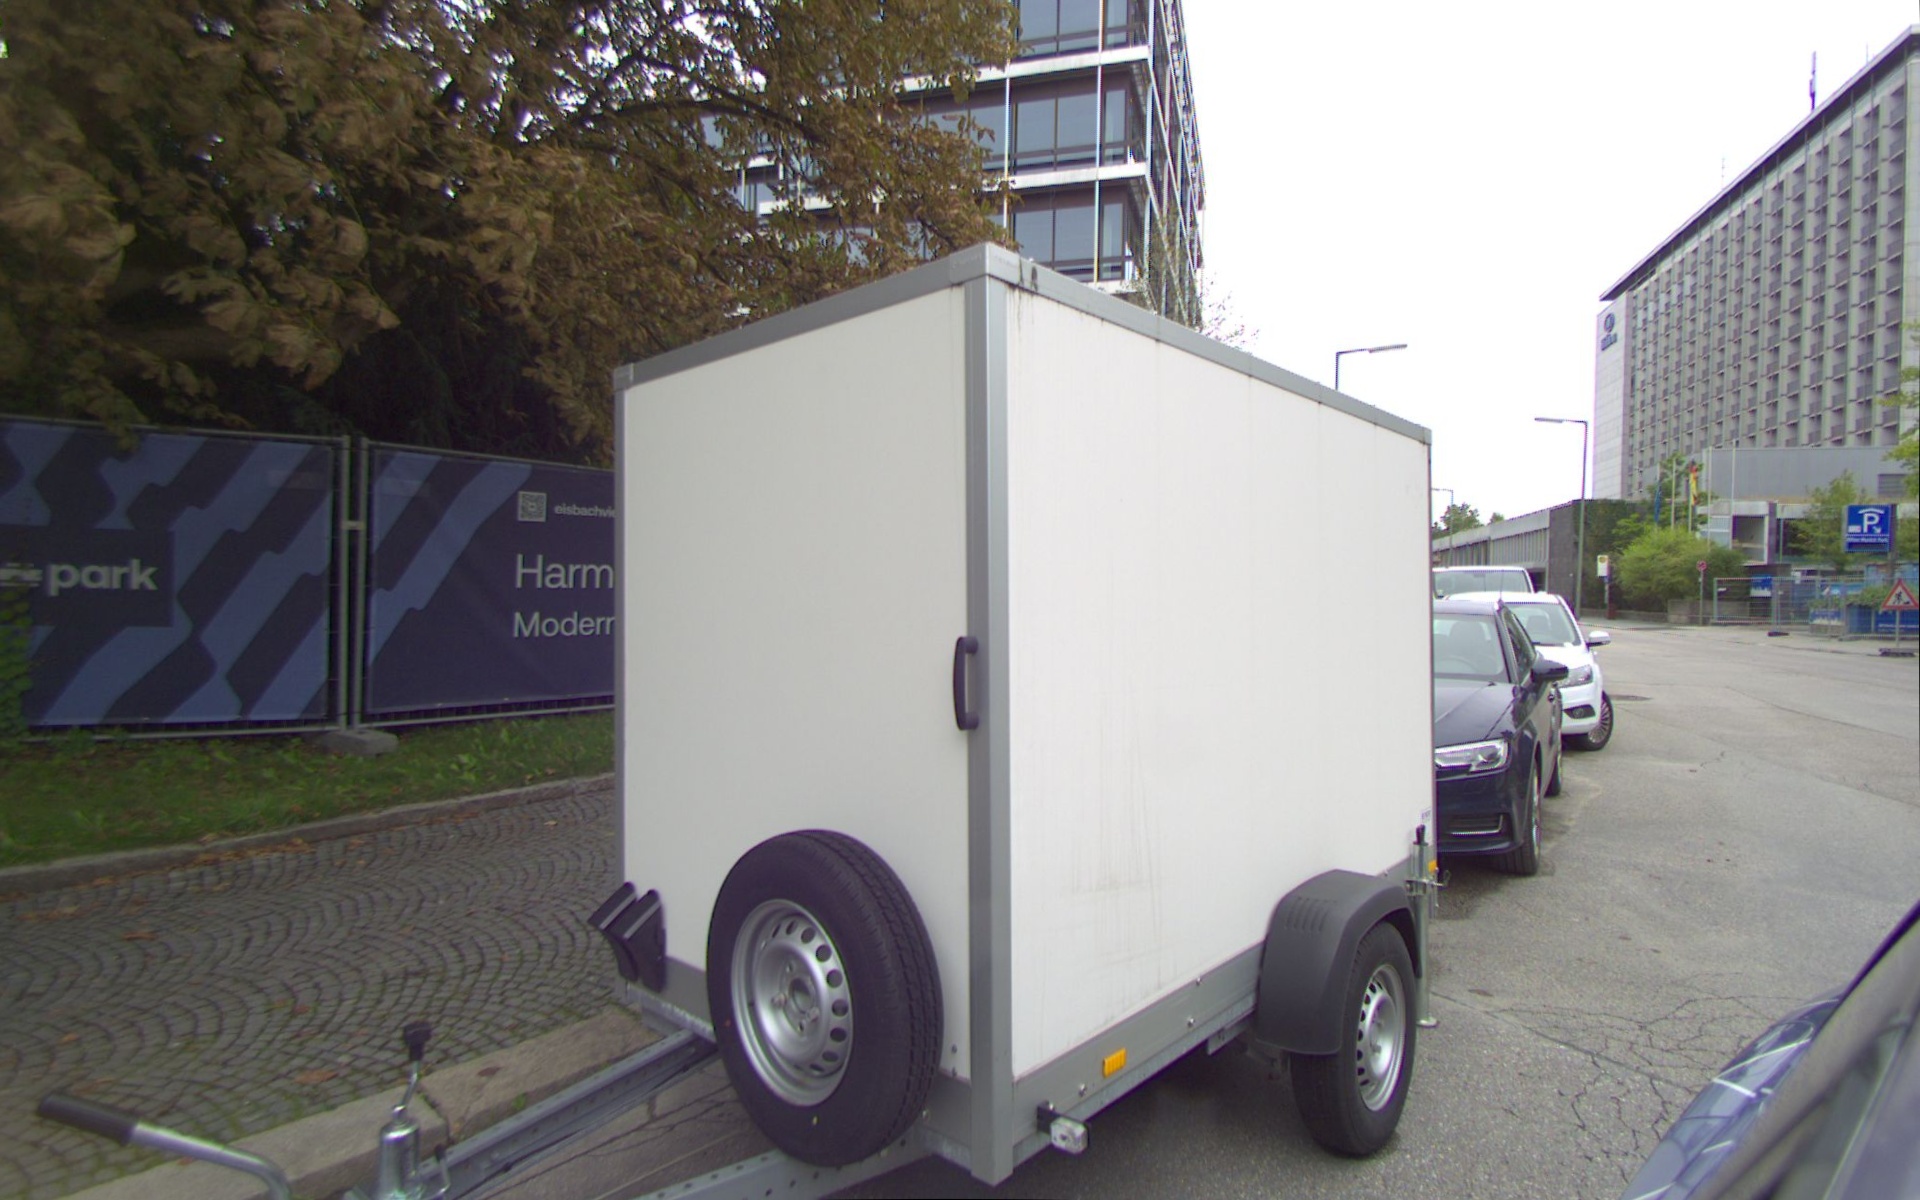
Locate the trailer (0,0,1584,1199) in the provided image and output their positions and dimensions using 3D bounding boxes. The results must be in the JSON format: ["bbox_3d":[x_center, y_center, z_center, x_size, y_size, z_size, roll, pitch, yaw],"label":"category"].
[{"bbox_3d":[-0.107,0.254,2.528,1.810,2.038,4.757,2,2,44],"label":"trailer"}]

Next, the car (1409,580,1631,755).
[{"bbox_3d":[6.106,0.551,11.106,1.757,1.504,4.177,1,1,29],"label":"car"}]

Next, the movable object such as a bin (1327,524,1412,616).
[{"bbox_3d":[18.608,-1.343,46.126,3.214,3.762,8.943,1,2,22],"label":"movable object such as a bin"}]

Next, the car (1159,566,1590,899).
[{"bbox_3d":[3.069,0.565,6.847,1.865,1.455,4.276,3,2,34],"label":"car"}]

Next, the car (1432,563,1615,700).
[{"bbox_3d":[8.385,0.347,15.452,1.978,1.749,4.414,1,2,24],"label":"car"}]

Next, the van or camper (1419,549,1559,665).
[{"bbox_3d":[10.646,0.050,20.741,1.977,2.038,5.337,1,2,22],"label":"van or camper"}]

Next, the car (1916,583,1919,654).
[{"bbox_3d":[21.432,0.460,20.041,1.756,1.569,4.238,1,1,15],"label":"car"}]
